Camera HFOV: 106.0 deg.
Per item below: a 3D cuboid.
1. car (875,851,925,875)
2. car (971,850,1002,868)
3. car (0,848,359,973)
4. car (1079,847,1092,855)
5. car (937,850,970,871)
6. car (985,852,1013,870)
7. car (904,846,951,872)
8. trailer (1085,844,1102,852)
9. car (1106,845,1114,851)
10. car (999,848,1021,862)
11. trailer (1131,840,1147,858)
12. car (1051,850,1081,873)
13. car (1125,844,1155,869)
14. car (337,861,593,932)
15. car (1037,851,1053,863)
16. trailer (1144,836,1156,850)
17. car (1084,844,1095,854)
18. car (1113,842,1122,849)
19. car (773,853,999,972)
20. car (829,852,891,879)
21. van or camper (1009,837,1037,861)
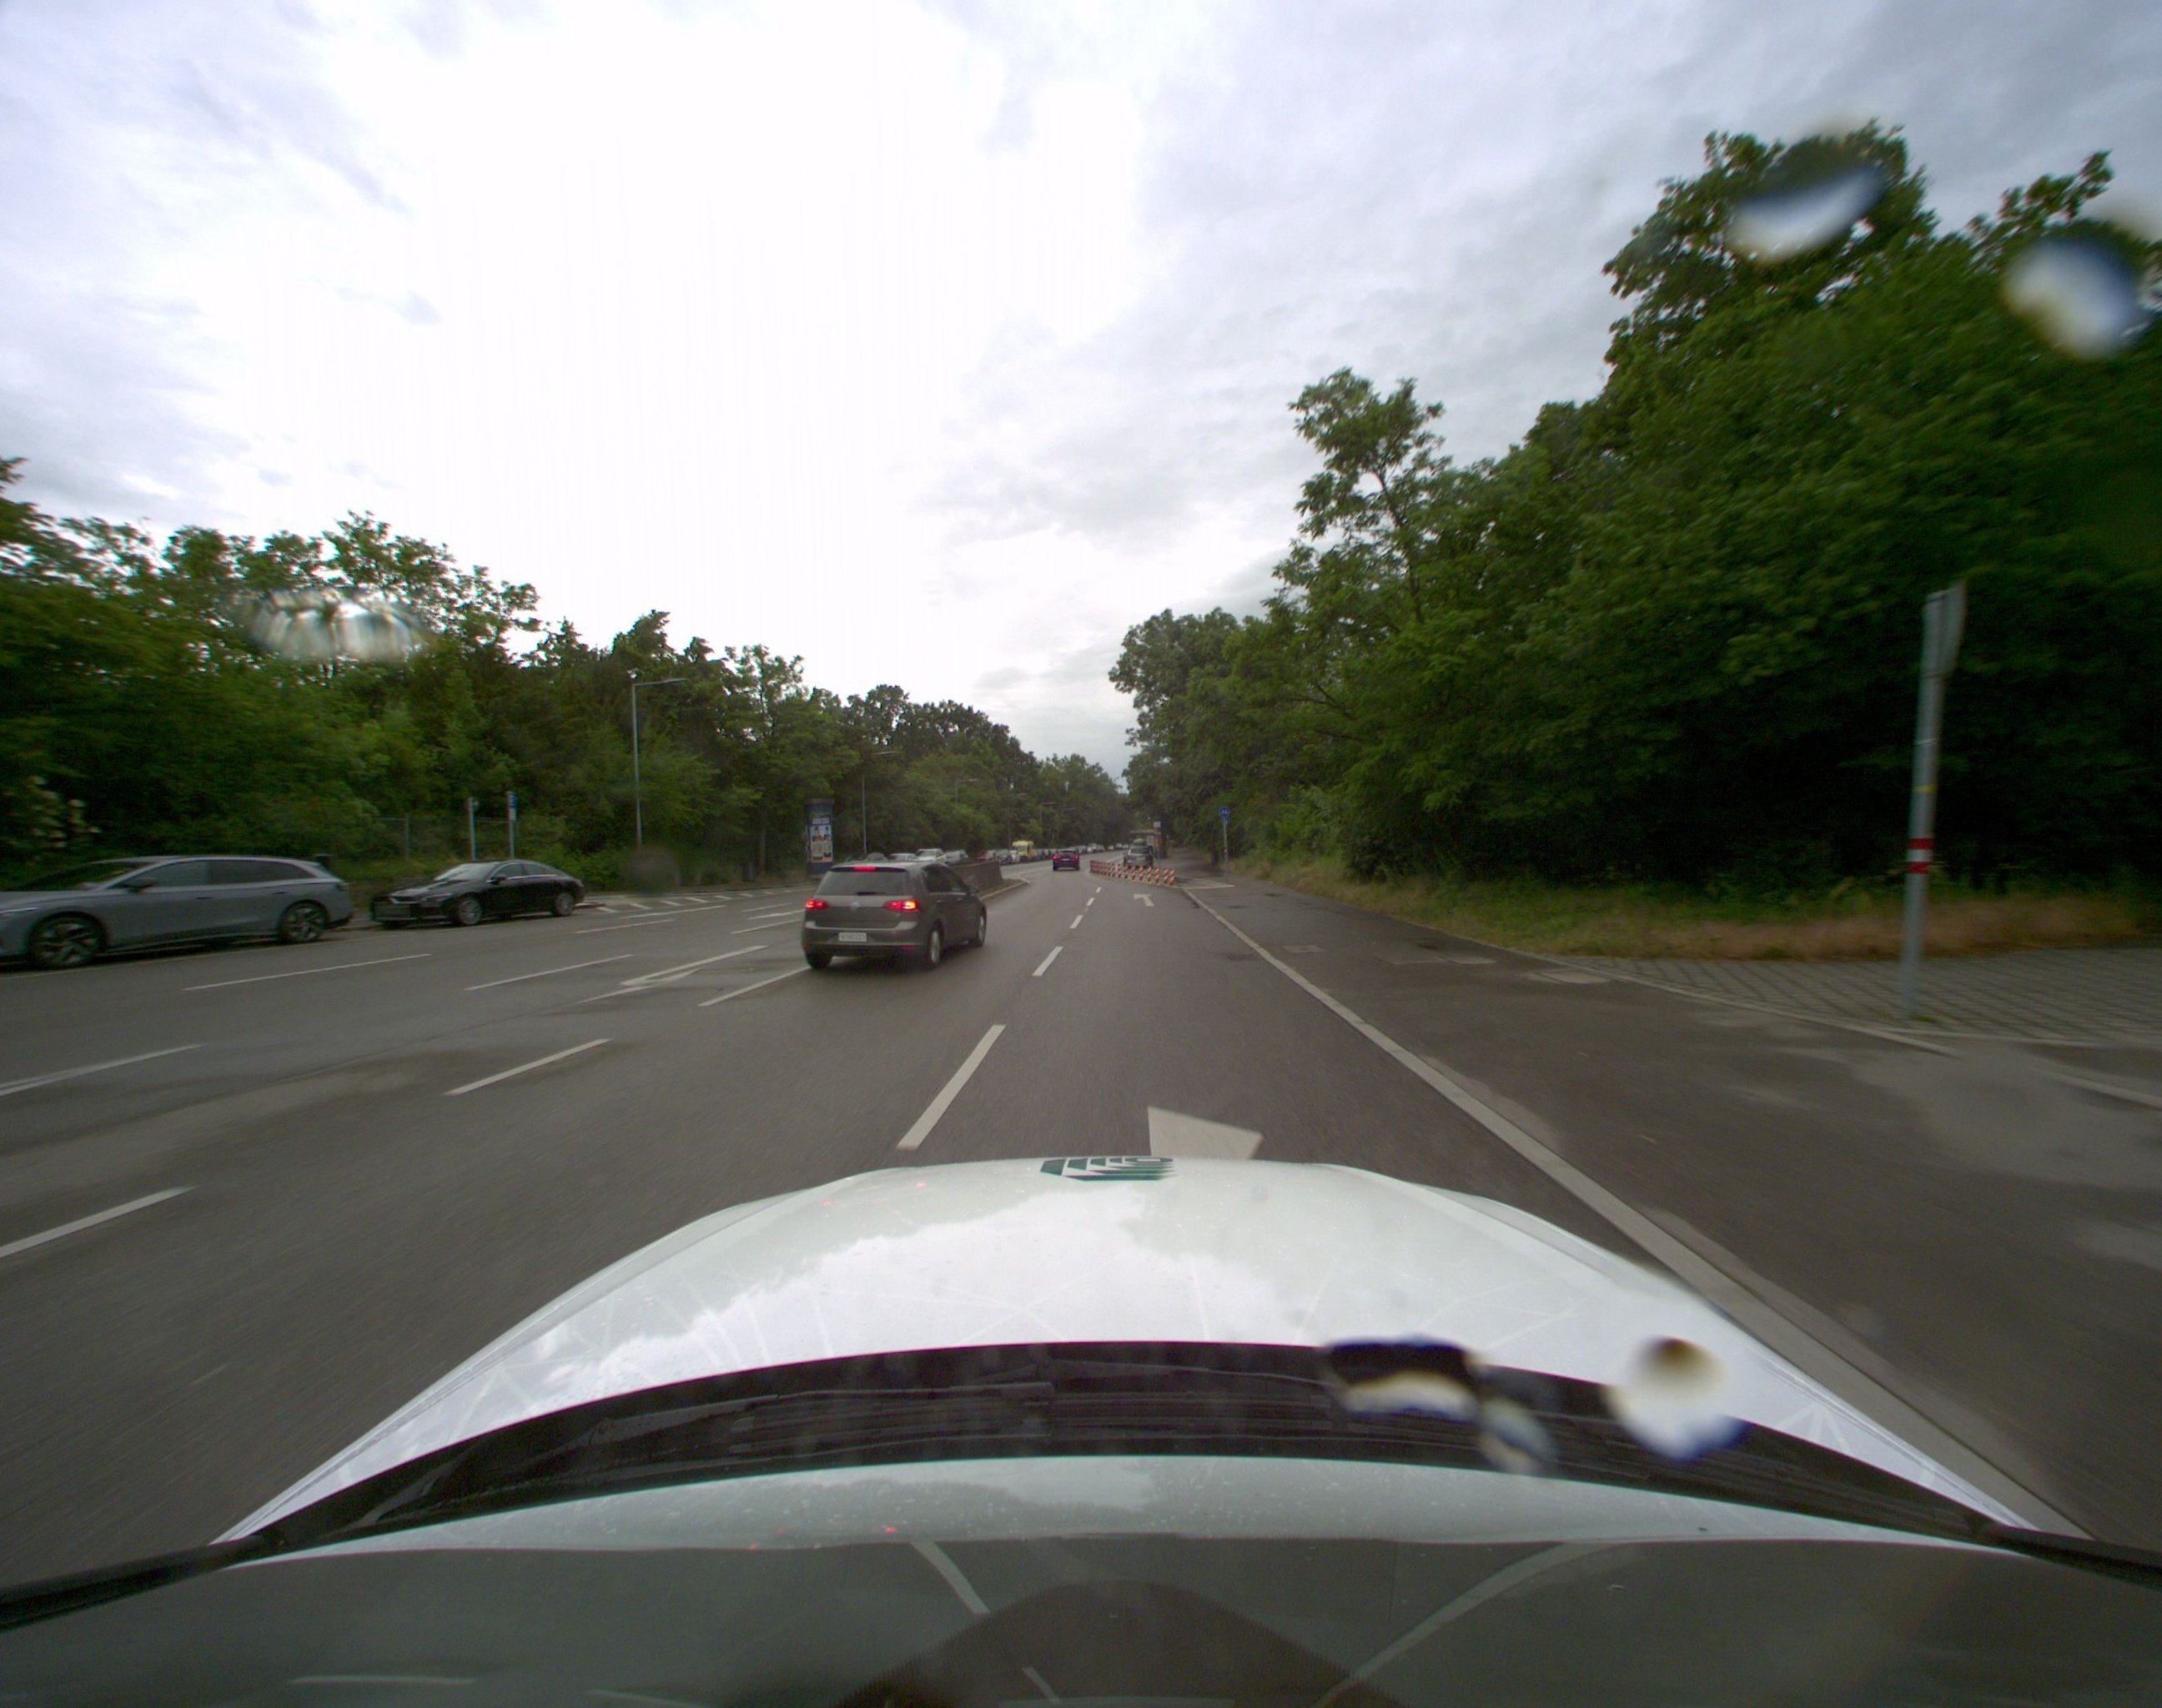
[{"bbox_3d":[-11.813,0.542,53.432,1.709,1.460,4.717,-1,0,6],"label":"car"},{"bbox_3d":[-9.028,0.434,78.219,1.909,1.617,4.498,-2,0,7],"label":"car"},{"bbox_3d":[-14.446,0.744,12.594,1.832,1.589,4.936,0,-1,5],"label":"car"},{"bbox_3d":[0.828,-0.652,158.283,1.983,1.488,4.477,-1,0,7],"label":"car"},{"bbox_3d":[-10.395,0.492,66.743,1.724,1.649,4.575,0,0,3],"label":"car"},{"bbox_3d":[-8.403,0.686,83.949,1.984,1.700,4.622,-1,0,5],"label":"car"},{"bbox_3d":[-11.142,0.331,59.333,1.983,1.765,4.968,-1,0,6],"label":"car"},{"bbox_3d":[2.671,-1.276,174.465,1.609,1.628,3.696,-1,0,37],"label":"trailer"},{"bbox_3d":[7.606,-1.537,214.292,1.664,1.513,3.636,0,1,6],"label":"car"},{"bbox_3d":[-7.704,0.136,89.039,1.609,1.448,3.664,-2,0,7],"label":"car"},{"bbox_3d":[7.437,-0.669,103.806,1.896,2.247,4.776,-1,1,6],"label":"trailer"},{"bbox_3d":[-1.047,0.469,55.457,1.877,1.466,3.996,1,1,-3],"label":"car"},{"bbox_3d":[3.960,0.138,55.079,1.815,1.615,4.254,0,0,2],"label":"car"},{"bbox_3d":[-13.725,0.871,18.626,1.897,1.414,4.790,0,-1,5],"label":"car"},{"bbox_3d":[-4.915,0.363,111.573,1.594,1.510,3.985,-1,1,8],"label":"car"},{"bbox_3d":[12.671,-1.969,150.182,2.122,2.560,4.303,-1,0,4],"label":"trailer"},{"bbox_3d":[1.726,-1.034,169.786,1.931,2.013,4.745,-1,0,4],"label":"car"},{"bbox_3d":[10.750,-2.496,239.286,2.147,2.013,5.042,-1,0,8],"label":"car"},{"bbox_3d":[-2.624,0.747,12.165,1.861,1.441,4.304,0,-1,7],"label":"car"},{"bbox_3d":[-12.800,0.618,47.428,1.739,1.445,4.598,0,0,9],"label":"car"},{"bbox_3d":[-6.771,-0.603,95.471,2.132,2.627,5.694,-1,0,7],"label":"van or camper"}]
